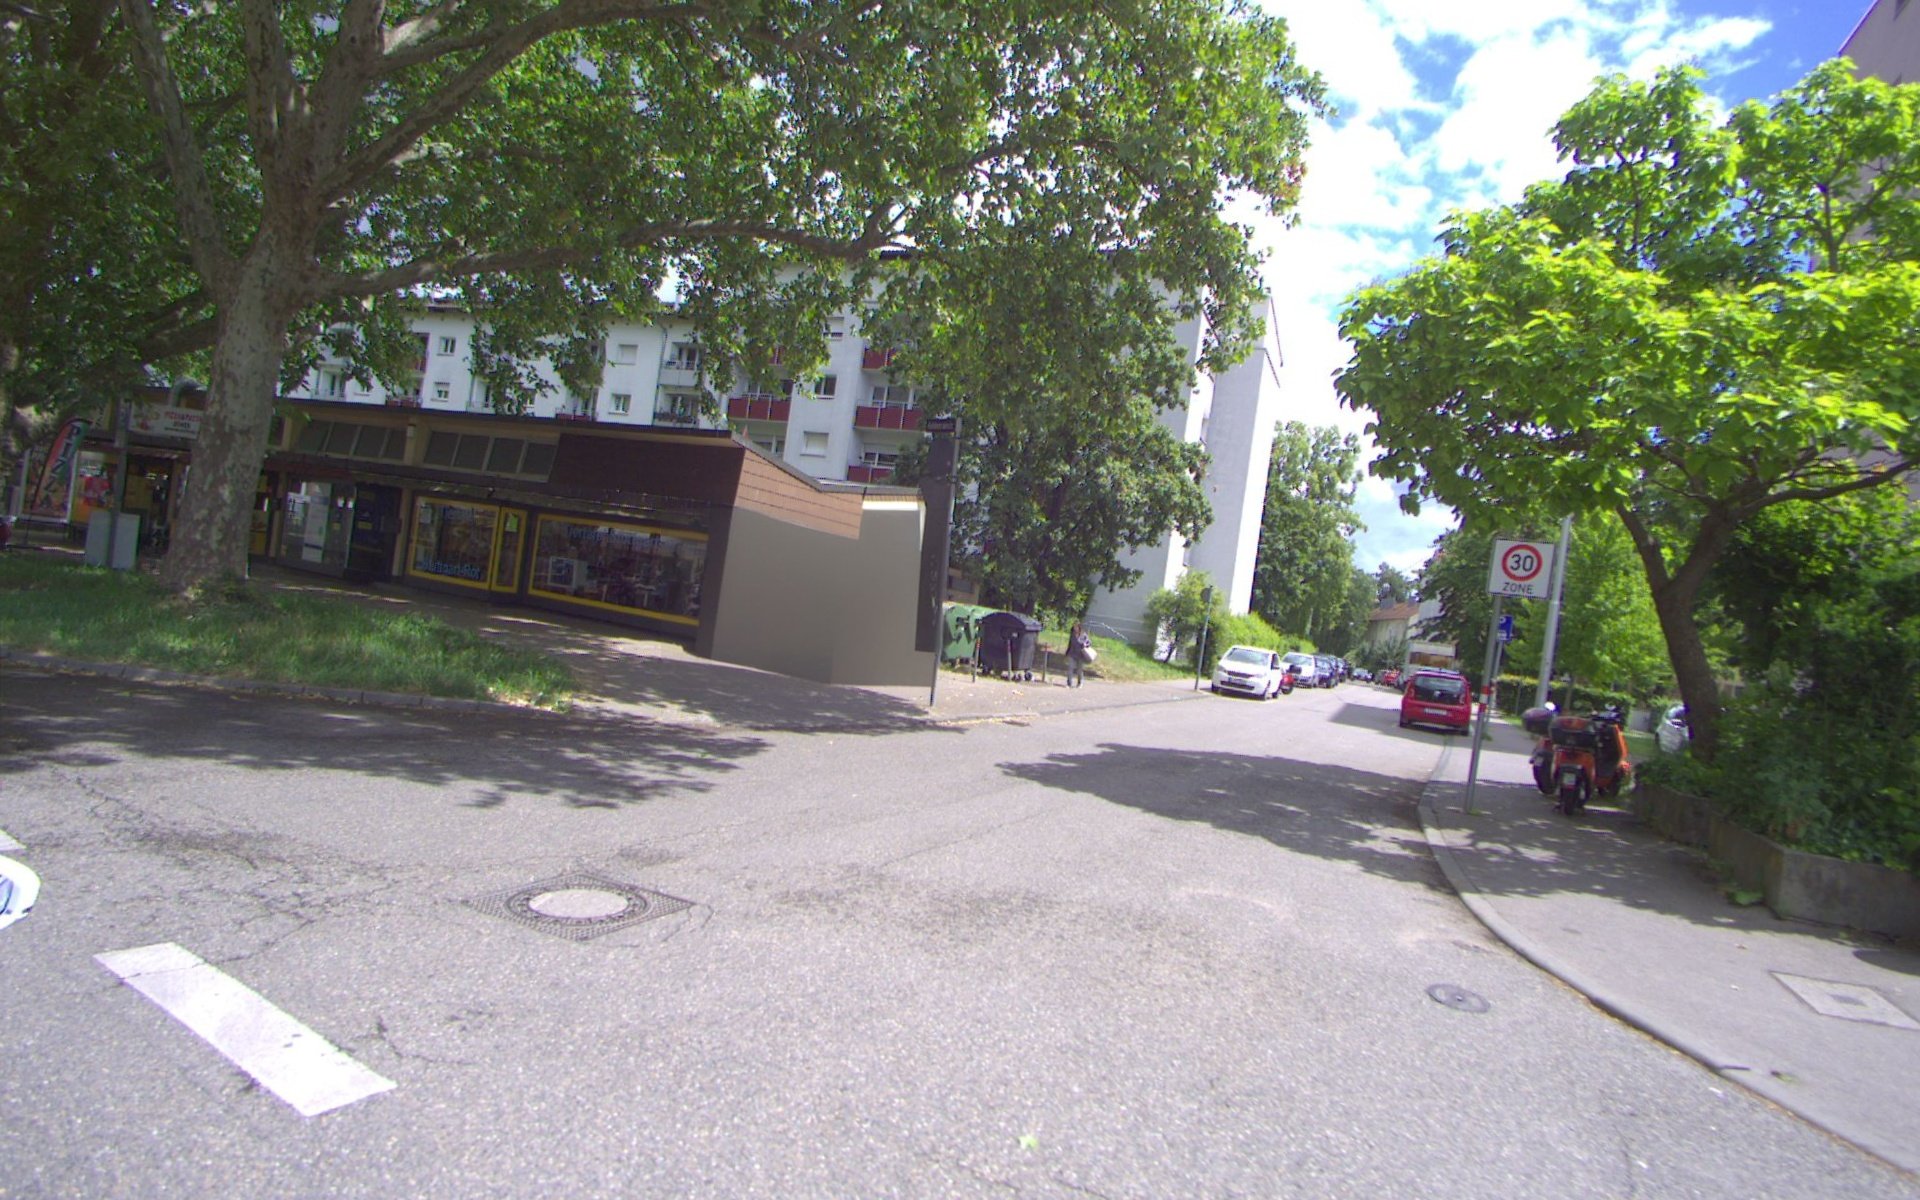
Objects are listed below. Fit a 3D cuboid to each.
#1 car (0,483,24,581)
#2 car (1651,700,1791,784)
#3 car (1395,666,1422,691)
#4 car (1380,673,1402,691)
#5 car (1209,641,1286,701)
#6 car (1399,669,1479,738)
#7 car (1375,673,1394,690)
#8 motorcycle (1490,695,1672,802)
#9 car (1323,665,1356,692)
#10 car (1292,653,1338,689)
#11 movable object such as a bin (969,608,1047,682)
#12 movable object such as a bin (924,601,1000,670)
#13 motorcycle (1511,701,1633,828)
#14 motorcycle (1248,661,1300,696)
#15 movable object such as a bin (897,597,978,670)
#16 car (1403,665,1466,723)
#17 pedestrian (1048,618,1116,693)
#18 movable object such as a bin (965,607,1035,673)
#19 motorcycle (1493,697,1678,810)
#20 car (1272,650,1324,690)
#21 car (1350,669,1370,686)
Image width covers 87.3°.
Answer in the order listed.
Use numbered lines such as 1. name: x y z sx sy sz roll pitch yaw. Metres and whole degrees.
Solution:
1. car: -17.793 -1.378 15.916 1.703 1.631 4.031 7 0 35
2. car: 17.450 3.200 23.256 1.718 1.455 3.488 8 -1 25
3. car: 31.690 5.576 71.085 1.536 1.448 3.343 7 -2 24
4. car: 40.281 7.677 94.054 1.535 1.448 3.345 7 -2 20
5. car: 8.761 2.149 30.495 1.626 1.504 3.467 7 0 24
6. car: 12.442 2.642 26.235 1.609 1.455 3.488 8 -1 25
7. car: 43.991 8.477 104.304 1.535 1.448 3.345 7 -2 20
8. motorcycle: 8.796 2.100 14.286 2.102 1.210 0.739 7 1 -8
9. car: 24.728 5.113 65.499 1.700 1.458 3.513 7 0 24
10. car: 17.268 3.433 48.901 1.700 1.458 3.513 7 0 24
11. movable object such as a bin: 1.078 0.999 22.251 1.124 1.430 1.184 10 2 28
12. movable object such as a bin: 0.059 0.845 23.787 1.191 1.430 1.177 10 2 28
13. motorcycle: 7.029 1.835 11.493 0.729 1.210 2.129 8 0 41
14. motorcycle: 10.991 2.745 35.212 1.596 1.003 0.454 7 1 27
15. movable object such as a bin: -0.498 0.761 22.664 1.191 1.430 1.177 10 2 28
16. car: 15.495 3.024 32.931 1.611 1.571 3.843 7 0 25
17. pedestrian: 2.778 1.263 22.959 1.082 1.493 0.809 11 2 27
18. movable object such as a bin: 0.991 0.987 24.677 1.124 1.430 1.184 10 2 28
19. motorcycle: 8.242 2.019 13.264 2.105 1.210 0.737 7 1 -16
20. car: 14.984 3.090 44.515 1.700 1.458 3.513 7 0 24
21. car: 39.821 7.707 100.228 1.535 1.448 3.345 7 -2 20
